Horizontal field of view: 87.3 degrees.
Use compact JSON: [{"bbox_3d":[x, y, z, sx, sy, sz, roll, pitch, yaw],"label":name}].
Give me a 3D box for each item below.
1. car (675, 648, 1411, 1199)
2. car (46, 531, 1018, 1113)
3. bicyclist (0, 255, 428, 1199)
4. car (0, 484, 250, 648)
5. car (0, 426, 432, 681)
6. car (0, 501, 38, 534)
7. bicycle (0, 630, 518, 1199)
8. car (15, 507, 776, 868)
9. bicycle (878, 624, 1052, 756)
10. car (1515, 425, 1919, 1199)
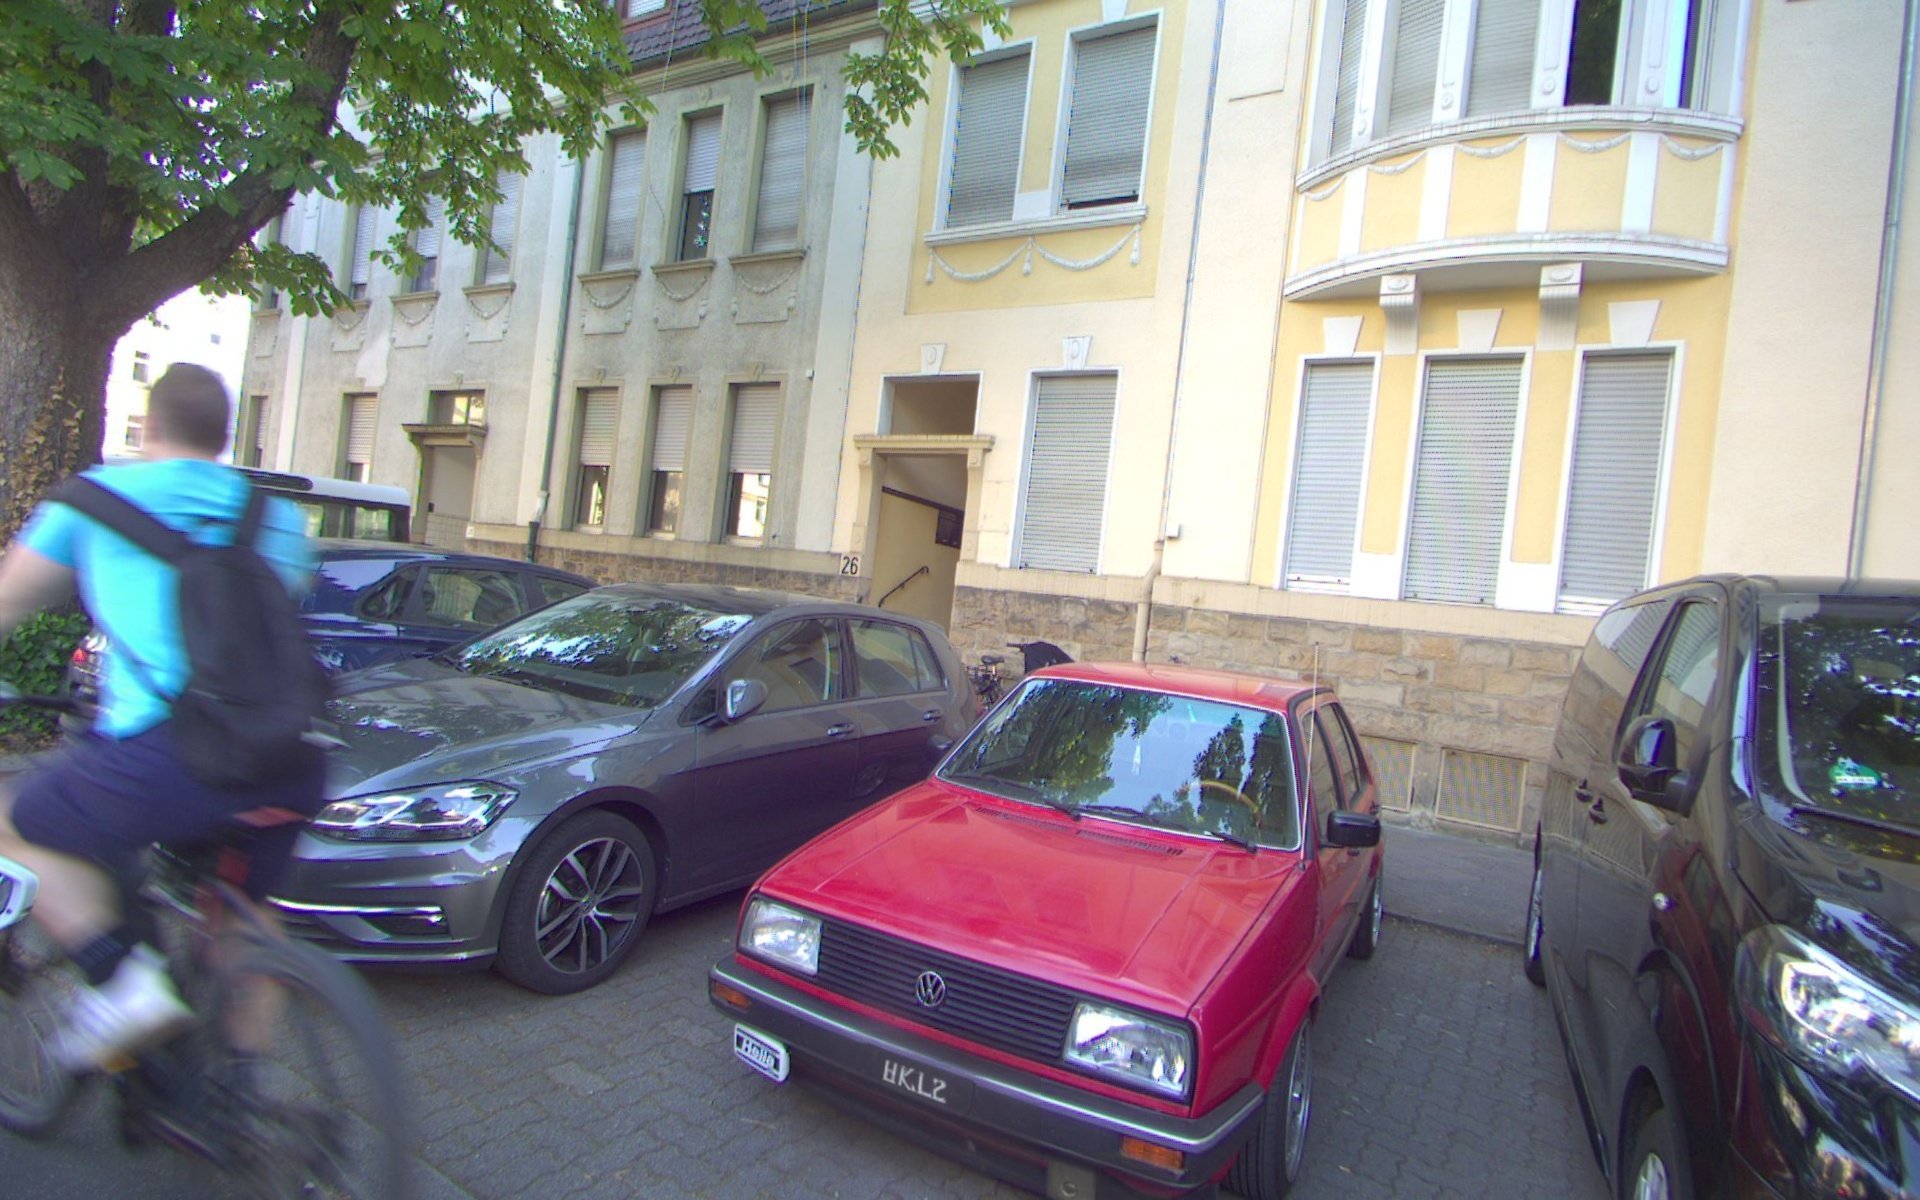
[{"bbox_3d":[0.835,0.961,4.232,1.532,1.337,3.916,6,0,29],"label":"car"},{"bbox_3d":[-1.371,0.648,4.777,1.600,1.440,4.054,6,0,29],"label":"car"},{"bbox_3d":[-1.741,0.348,2.051,0.817,1.795,0.648,6,-1,32],"label":"bicyclist"},{"bbox_3d":[-10.046,-0.397,10.812,1.680,1.606,3.488,7,0,26],"label":"car"},{"bbox_3d":[-7.617,-0.382,9.318,1.762,1.981,4.496,7,1,29],"label":"car"},{"bbox_3d":[-36.080,-3.207,36.657,1.357,1.081,3.370,7,-1,30],"label":"car"},{"bbox_3d":[-1.943,0.729,2.128,1.980,1.131,0.744,7,-1,32],"label":"bicycle"},{"bbox_3d":[-3.014,0.419,6.210,1.600,1.440,3.754,6,0,29],"label":"car"},{"bbox_3d":[0.030,0.893,10.335,1.675,1.090,0.500,7,2,32],"label":"bicycle"},{"bbox_3d":[2.882,0.898,2.951,1.848,1.847,4.829,6,0,27],"label":"car"}]
